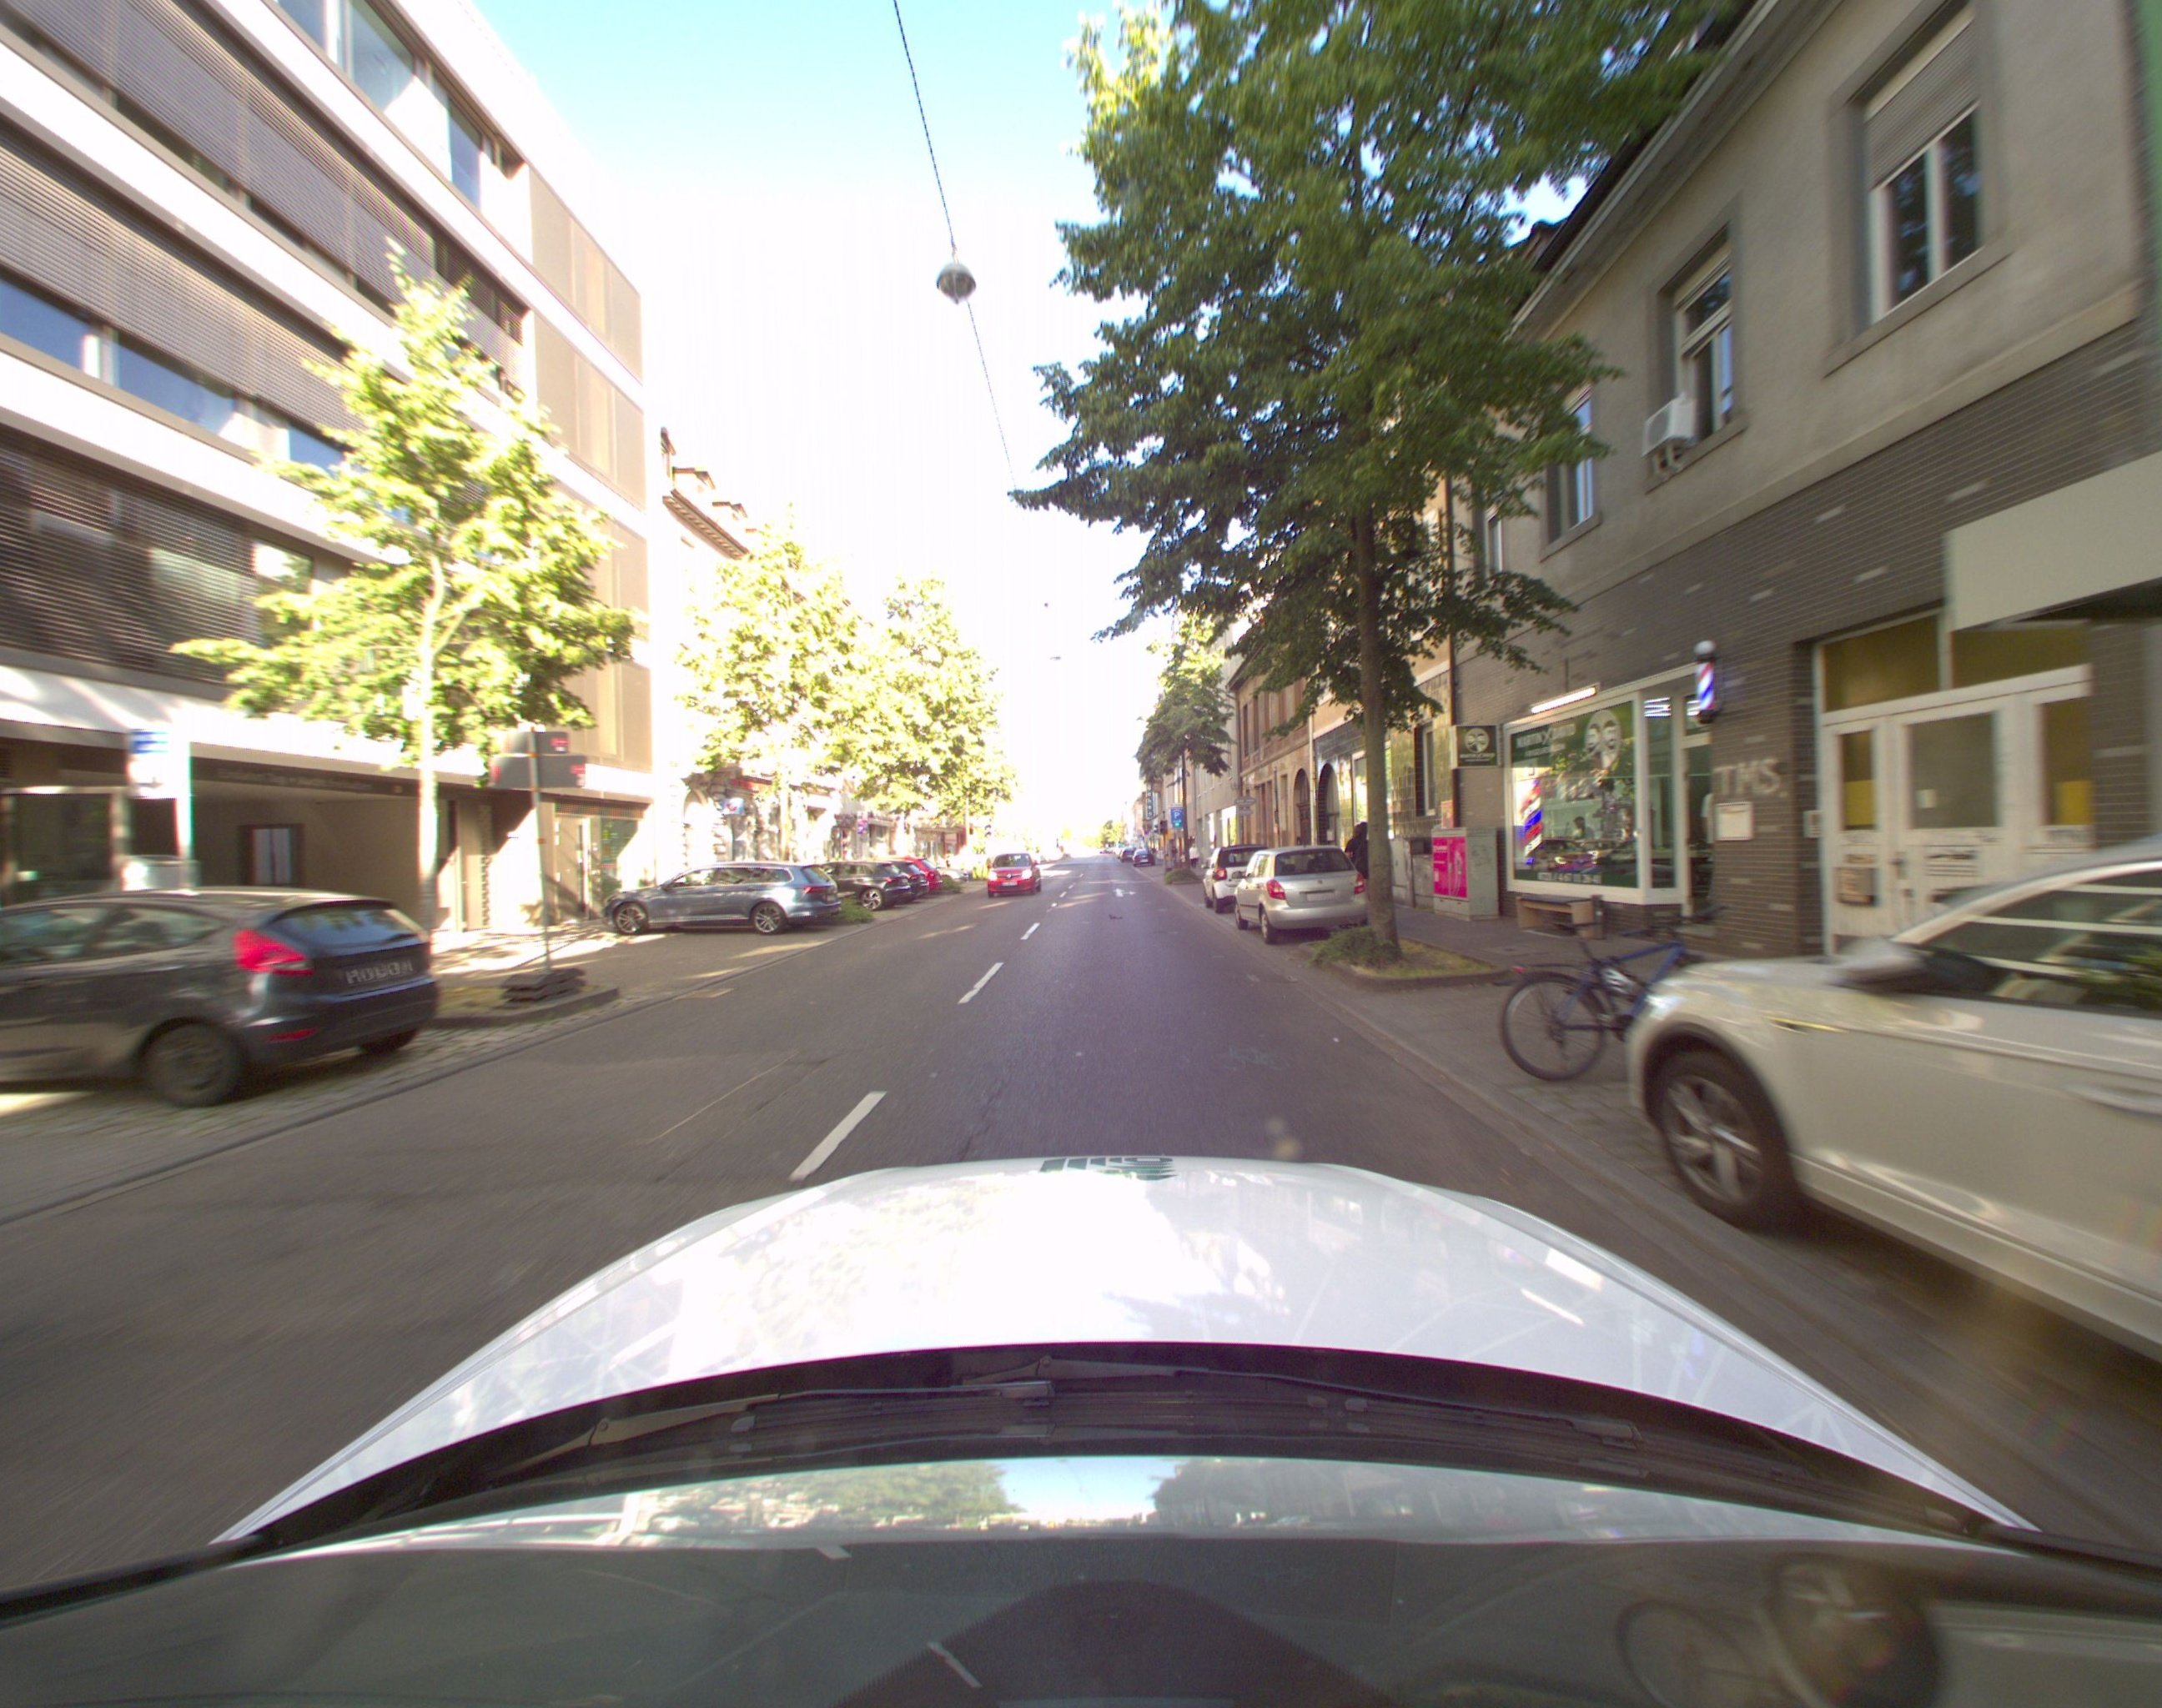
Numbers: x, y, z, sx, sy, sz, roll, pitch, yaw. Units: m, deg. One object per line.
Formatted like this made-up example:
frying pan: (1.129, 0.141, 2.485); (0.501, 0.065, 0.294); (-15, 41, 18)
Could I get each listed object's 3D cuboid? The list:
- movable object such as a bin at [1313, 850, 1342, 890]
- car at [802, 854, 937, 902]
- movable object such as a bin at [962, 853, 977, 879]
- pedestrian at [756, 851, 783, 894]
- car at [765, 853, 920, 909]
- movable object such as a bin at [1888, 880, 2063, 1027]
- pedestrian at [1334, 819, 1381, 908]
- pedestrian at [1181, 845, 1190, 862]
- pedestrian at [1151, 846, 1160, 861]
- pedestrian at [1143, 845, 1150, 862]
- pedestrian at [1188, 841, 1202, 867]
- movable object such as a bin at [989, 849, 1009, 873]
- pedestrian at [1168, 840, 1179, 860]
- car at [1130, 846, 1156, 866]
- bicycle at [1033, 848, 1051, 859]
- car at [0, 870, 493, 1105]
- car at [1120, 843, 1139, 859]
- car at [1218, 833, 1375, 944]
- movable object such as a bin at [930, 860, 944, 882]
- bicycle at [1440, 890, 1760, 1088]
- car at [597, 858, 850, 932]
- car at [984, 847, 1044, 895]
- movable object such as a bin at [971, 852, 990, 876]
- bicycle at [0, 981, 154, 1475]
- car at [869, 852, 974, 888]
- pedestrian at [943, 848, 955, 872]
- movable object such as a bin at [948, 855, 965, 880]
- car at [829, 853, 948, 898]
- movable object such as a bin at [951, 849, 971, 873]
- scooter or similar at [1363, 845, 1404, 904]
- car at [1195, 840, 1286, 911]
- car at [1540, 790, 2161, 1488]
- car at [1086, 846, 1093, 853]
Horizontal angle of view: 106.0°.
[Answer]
movable object such as a bin: (6.713, 0.432, 22.192); (0.520, 1.040, 0.722); (-4, 0, 3)
car: (-6.758, 0.764, 26.277); (3.825, 1.428, 1.791); (-1, 0, 3)
movable object such as a bin: (-6.000, 0.636, 43.918); (0.632, 1.341, 0.805); (-2, 0, 0)
pedestrian: (-10.316, 0.602, 27.010); (0.505, 1.408, 0.826); (0, 1, 6)
car: (-6.811, 0.756, 23.535); (3.903, 1.485, 1.772); (-1, 0, 3)
movable object such as a bin: (6.380, 0.687, 5.844); (0.520, 0.956, 0.656); (-2, 0, 3)
pedestrian: (5.687, 0.184, 16.801); (0.620, 1.765, 0.771); (-4, 0, 2)
pedestrian: (6.554, -0.006, 51.167); (0.392, 1.033, 0.740); (-4, 0, 0)
pedestrian: (8.044, -0.054, 88.102); (0.797, 1.675, 0.590); (-3, 0, 4)
pedestrian: (7.100, -0.067, 88.206); (0.617, 1.766, 0.519); (-1, 0, 4)
pedestrian: (7.157, -0.016, 51.146); (0.578, 1.559, 1.021); (-4, 0, 1)
movable object such as a bin: (-5.132, 0.436, 50.941); (1.038, 1.471, 1.143); (-2, 0, 0)
pedestrian: (7.774, -0.315, 68.594); (0.689, 1.635, 0.889); (-4, 0, 1)
car: (5.244, 0.177, 69.939); (1.910, 1.478, 4.967); (-5, 0, 2)
bicycle: (-7.265, -0.058, 151.843); (3.101, 2.013, 0.911); (-1, 0, 10)
car: (-7.117, 0.916, 6.256); (3.775, 1.458, 1.777); (-1, 0, -6)
car: (5.340, -0.374, 89.413); (1.966, 1.725, 4.826); (0, 1, 2)
car: (3.599, 0.504, 14.361); (1.608, 1.528, 4.235); (-5, 0, 1)
movable object such as a bin: (-7.166, 0.853, 40.512); (0.529, 1.069, 0.805); (-2, 0, 0)
bicycle: (3.325, 0.842, 5.307); (1.617, 1.012, 0.611); (-6, 0, -1)
car: (-7.348, 0.819, 17.070); (4.478, 1.458, 1.790); (0, 0, 0)
car: (-2.366, 0.553, 29.515); (1.652, 1.535, 3.762); (-3, 0, 2)
movable object such as a bin: (-6.273, 0.632, 50.875); (0.960, 1.471, 1.143); (-2, 0, 0)
bicycle: (-3.075, 0.967, 1.242); (0.722, 1.169, 2.198); (-1, 0, 2)
car: (-7.028, 0.691, 36.123); (4.185, 1.468, 1.741); (-1, 0, 3)
pedestrian: (-9.385, 0.407, 57.895); (0.662, 1.659, 1.037); (-2, 0, 1)
movable object such as a bin: (-6.720, 0.721, 43.903); (0.752, 1.341, 0.805); (-2, 0, 0)
car: (-6.756, 0.742, 28.788); (3.735, 1.468, 1.740); (-1, 0, 1)
movable object such as a bin: (-7.517, 0.427, 50.977); (1.038, 1.471, 1.143); (-2, 0, 0)
scooter or similar: (6.383, 0.420, 17.212); (0.398, 1.187, 1.169); (-4, 0, 3)
car: (3.868, 0.495, 20.146); (1.608, 1.528, 3.061); (-3, 0, 1)
car: (3.299, 0.585, 2.068); (1.876, 1.527, 4.235); (-4, 0, 1)
car: (2.569, -1.313, 241.002); (1.985, 1.771, 4.004); (0, 1, 3)
